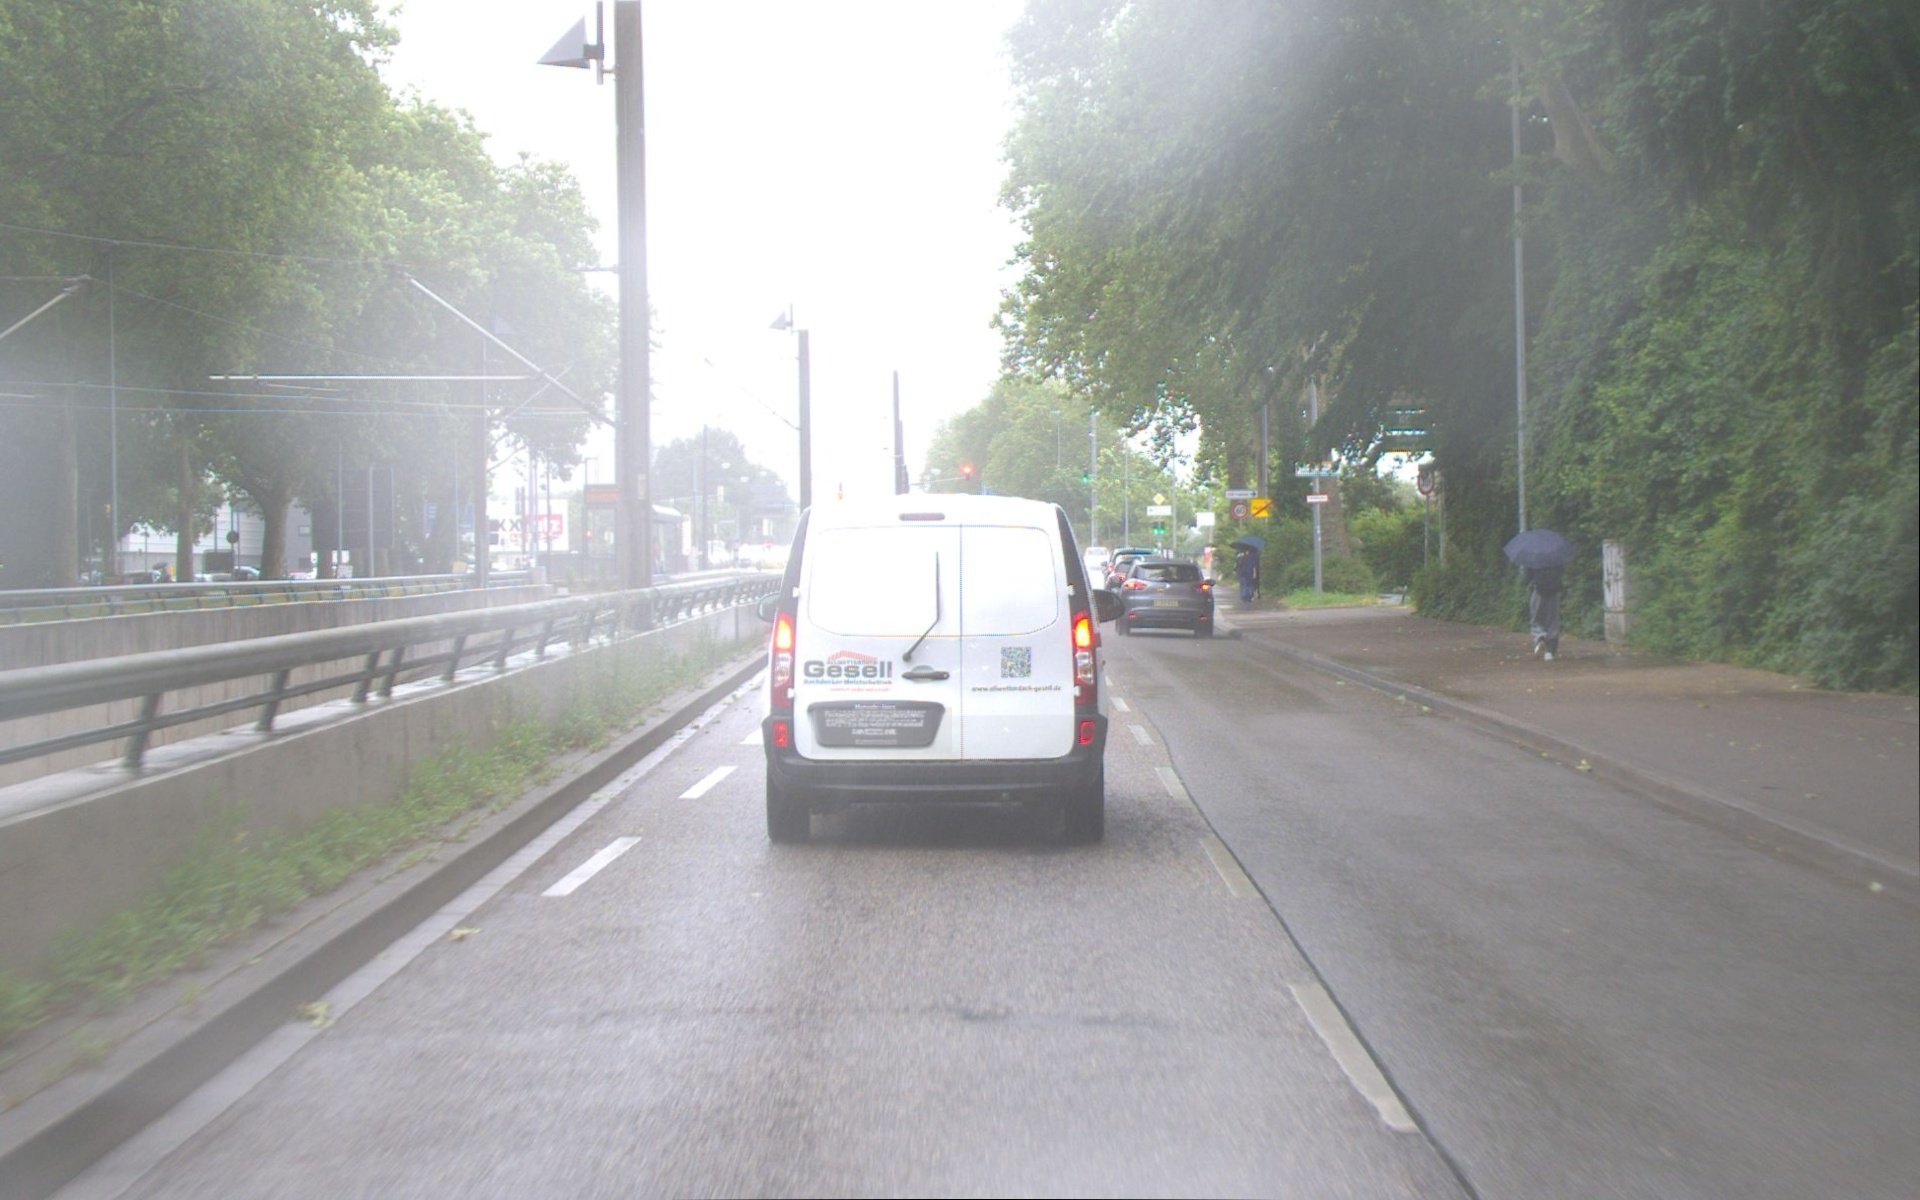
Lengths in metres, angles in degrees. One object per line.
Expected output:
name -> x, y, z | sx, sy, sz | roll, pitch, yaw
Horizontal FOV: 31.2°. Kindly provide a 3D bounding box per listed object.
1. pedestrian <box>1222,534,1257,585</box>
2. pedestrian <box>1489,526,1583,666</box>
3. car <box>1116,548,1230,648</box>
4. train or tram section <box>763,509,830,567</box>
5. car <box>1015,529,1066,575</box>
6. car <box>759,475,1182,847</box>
pedestrian -> 7.768, -1.124, 95.579 | 0.892, 1.385, 1.016 | -2, 1, 2
pedestrian -> 7.090, -0.053, 42.357 | 0.967, 1.696, 1.141 | 0, 1, 1
car -> 3.936, -0.065, 63.447 | 1.994, 1.744, 4.000 | 1, 1, 4
train or tram section -> -12.136, -4.595, 258.203 | 3.770, 4.022, 27.094 | 1, 1, 0
car -> 3.203, -1.914, 137.087 | 1.993, 1.744, 4.000 | 1, 1, 1
car -> 0.021, 0.267, 18.926 | 2.025, 1.769, 4.274 | 1, 1, -1
